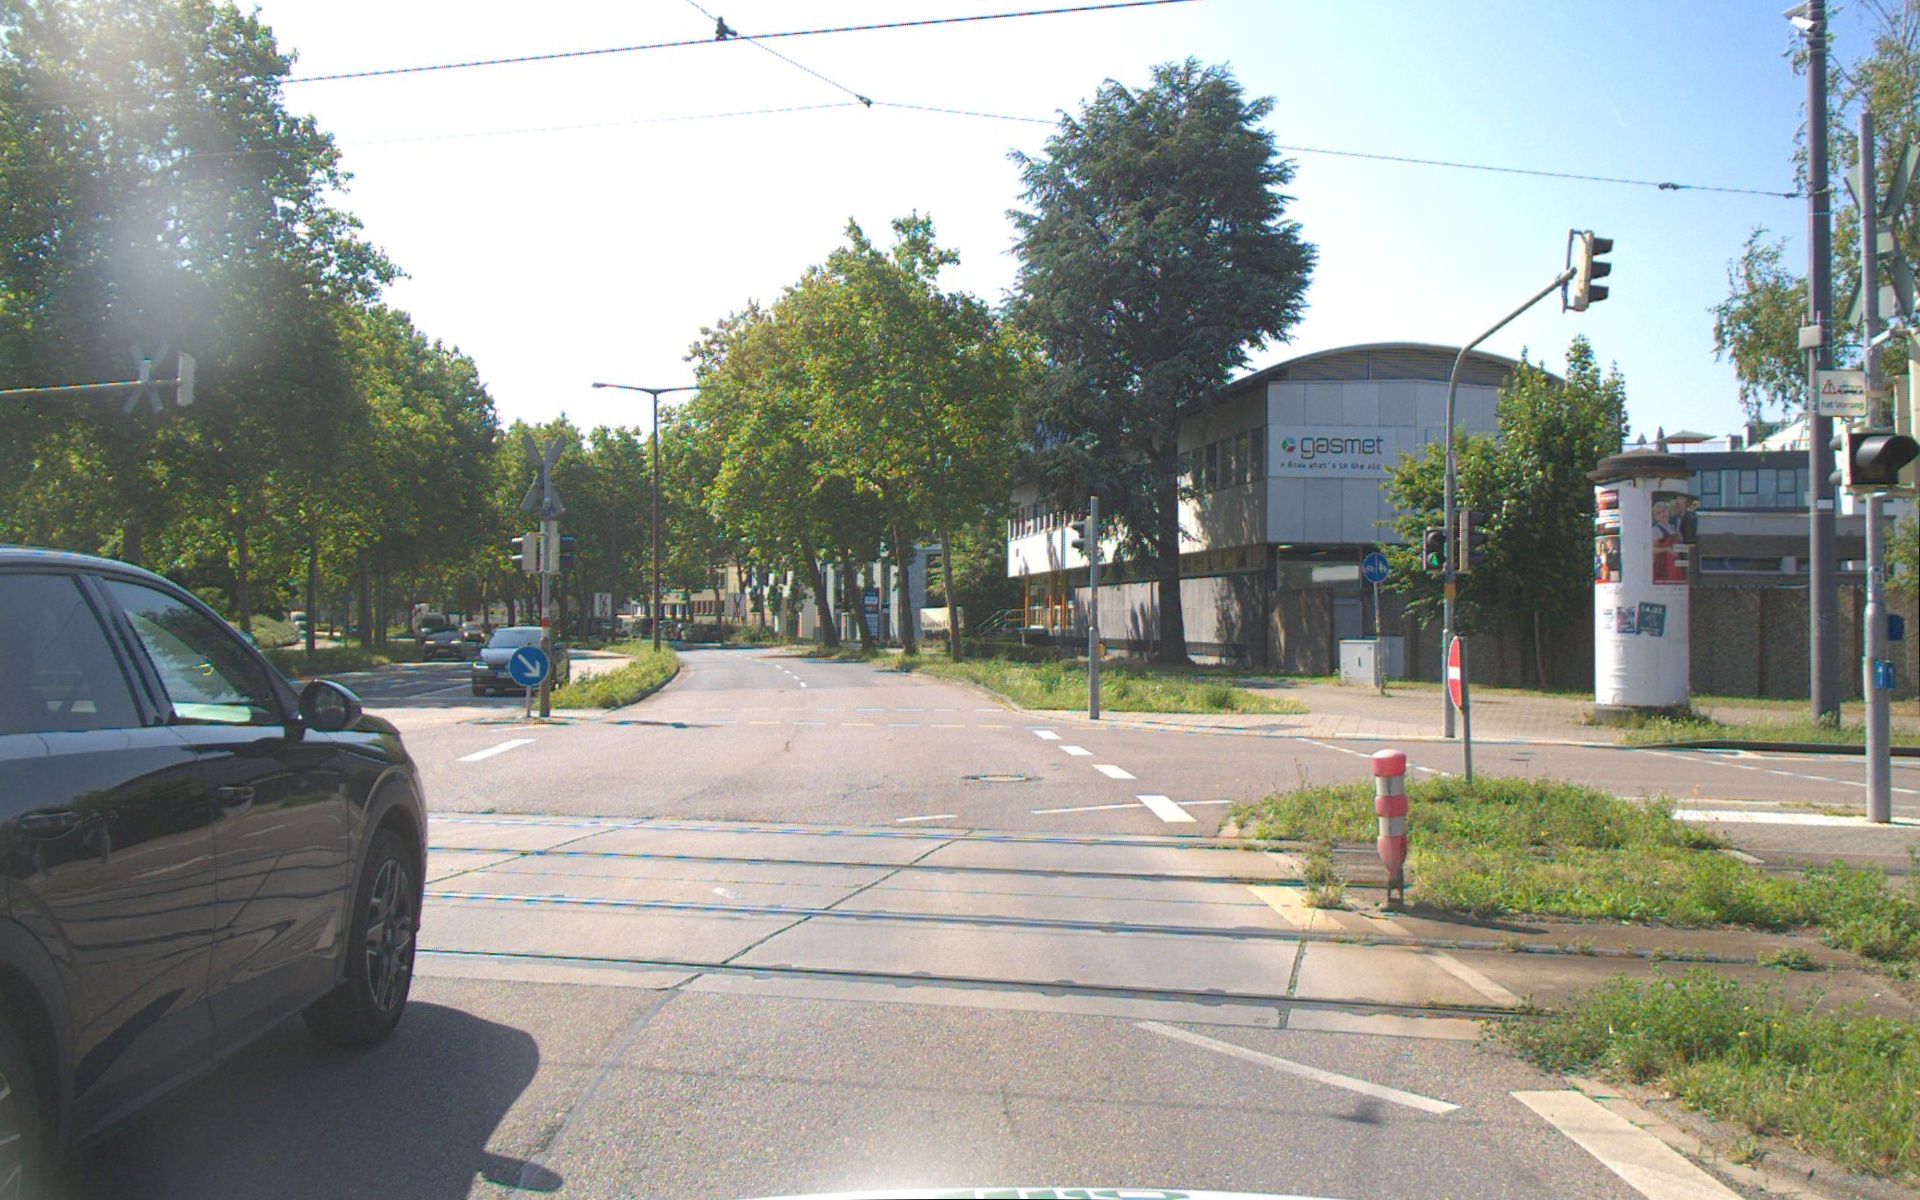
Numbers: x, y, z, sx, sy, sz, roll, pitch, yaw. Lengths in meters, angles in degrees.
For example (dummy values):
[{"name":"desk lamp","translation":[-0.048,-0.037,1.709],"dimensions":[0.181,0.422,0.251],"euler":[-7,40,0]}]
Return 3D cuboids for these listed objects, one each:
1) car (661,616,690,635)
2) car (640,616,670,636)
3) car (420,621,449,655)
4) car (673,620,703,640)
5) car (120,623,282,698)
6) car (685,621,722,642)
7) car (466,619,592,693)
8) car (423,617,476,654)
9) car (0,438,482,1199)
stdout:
[{"name":"car","translation":[-23.516,2.089,136.636],"dimensions":[1.681,1.480,4.629],"euler":[0,0,-19]},{"name":"car","translation":[-27.324,2.334,148.128],"dimensions":[1.684,1.699,4.499],"euler":[0,0,-24]},{"name":"car","translation":[-42.837,3.079,134.739],"dimensions":[2.030,2.659,7.175],"euler":[-1,-1,-20]},{"name":"car","translation":[-21.616,2.350,131.515],"dimensions":[1.681,1.514,4.078],"euler":[0,0,-19]},{"name":"car","translation":[-16.744,1.285,36.736],"dimensions":[1.660,1.534,4.658],"euler":[0,-1,-3]},{"name":"car","translation":[-19.652,2.391,126.476],"dimensions":[1.684,1.514,4.685],"euler":[-1,0,-23]},{"name":"car","translation":[-9.498,1.193,36.728],"dimensions":[1.659,1.534,4.129],"euler":[0,-1,1]},{"name":"car","translation":[-23.914,1.637,77.627],"dimensions":[1.677,1.617,4.424],"euler":[-1,0,-9]},{"name":"car","translation":[-2.729,0.616,4.298],"dimensions":[1.835,1.726,4.433],"euler":[-1,-2,-3]}]
